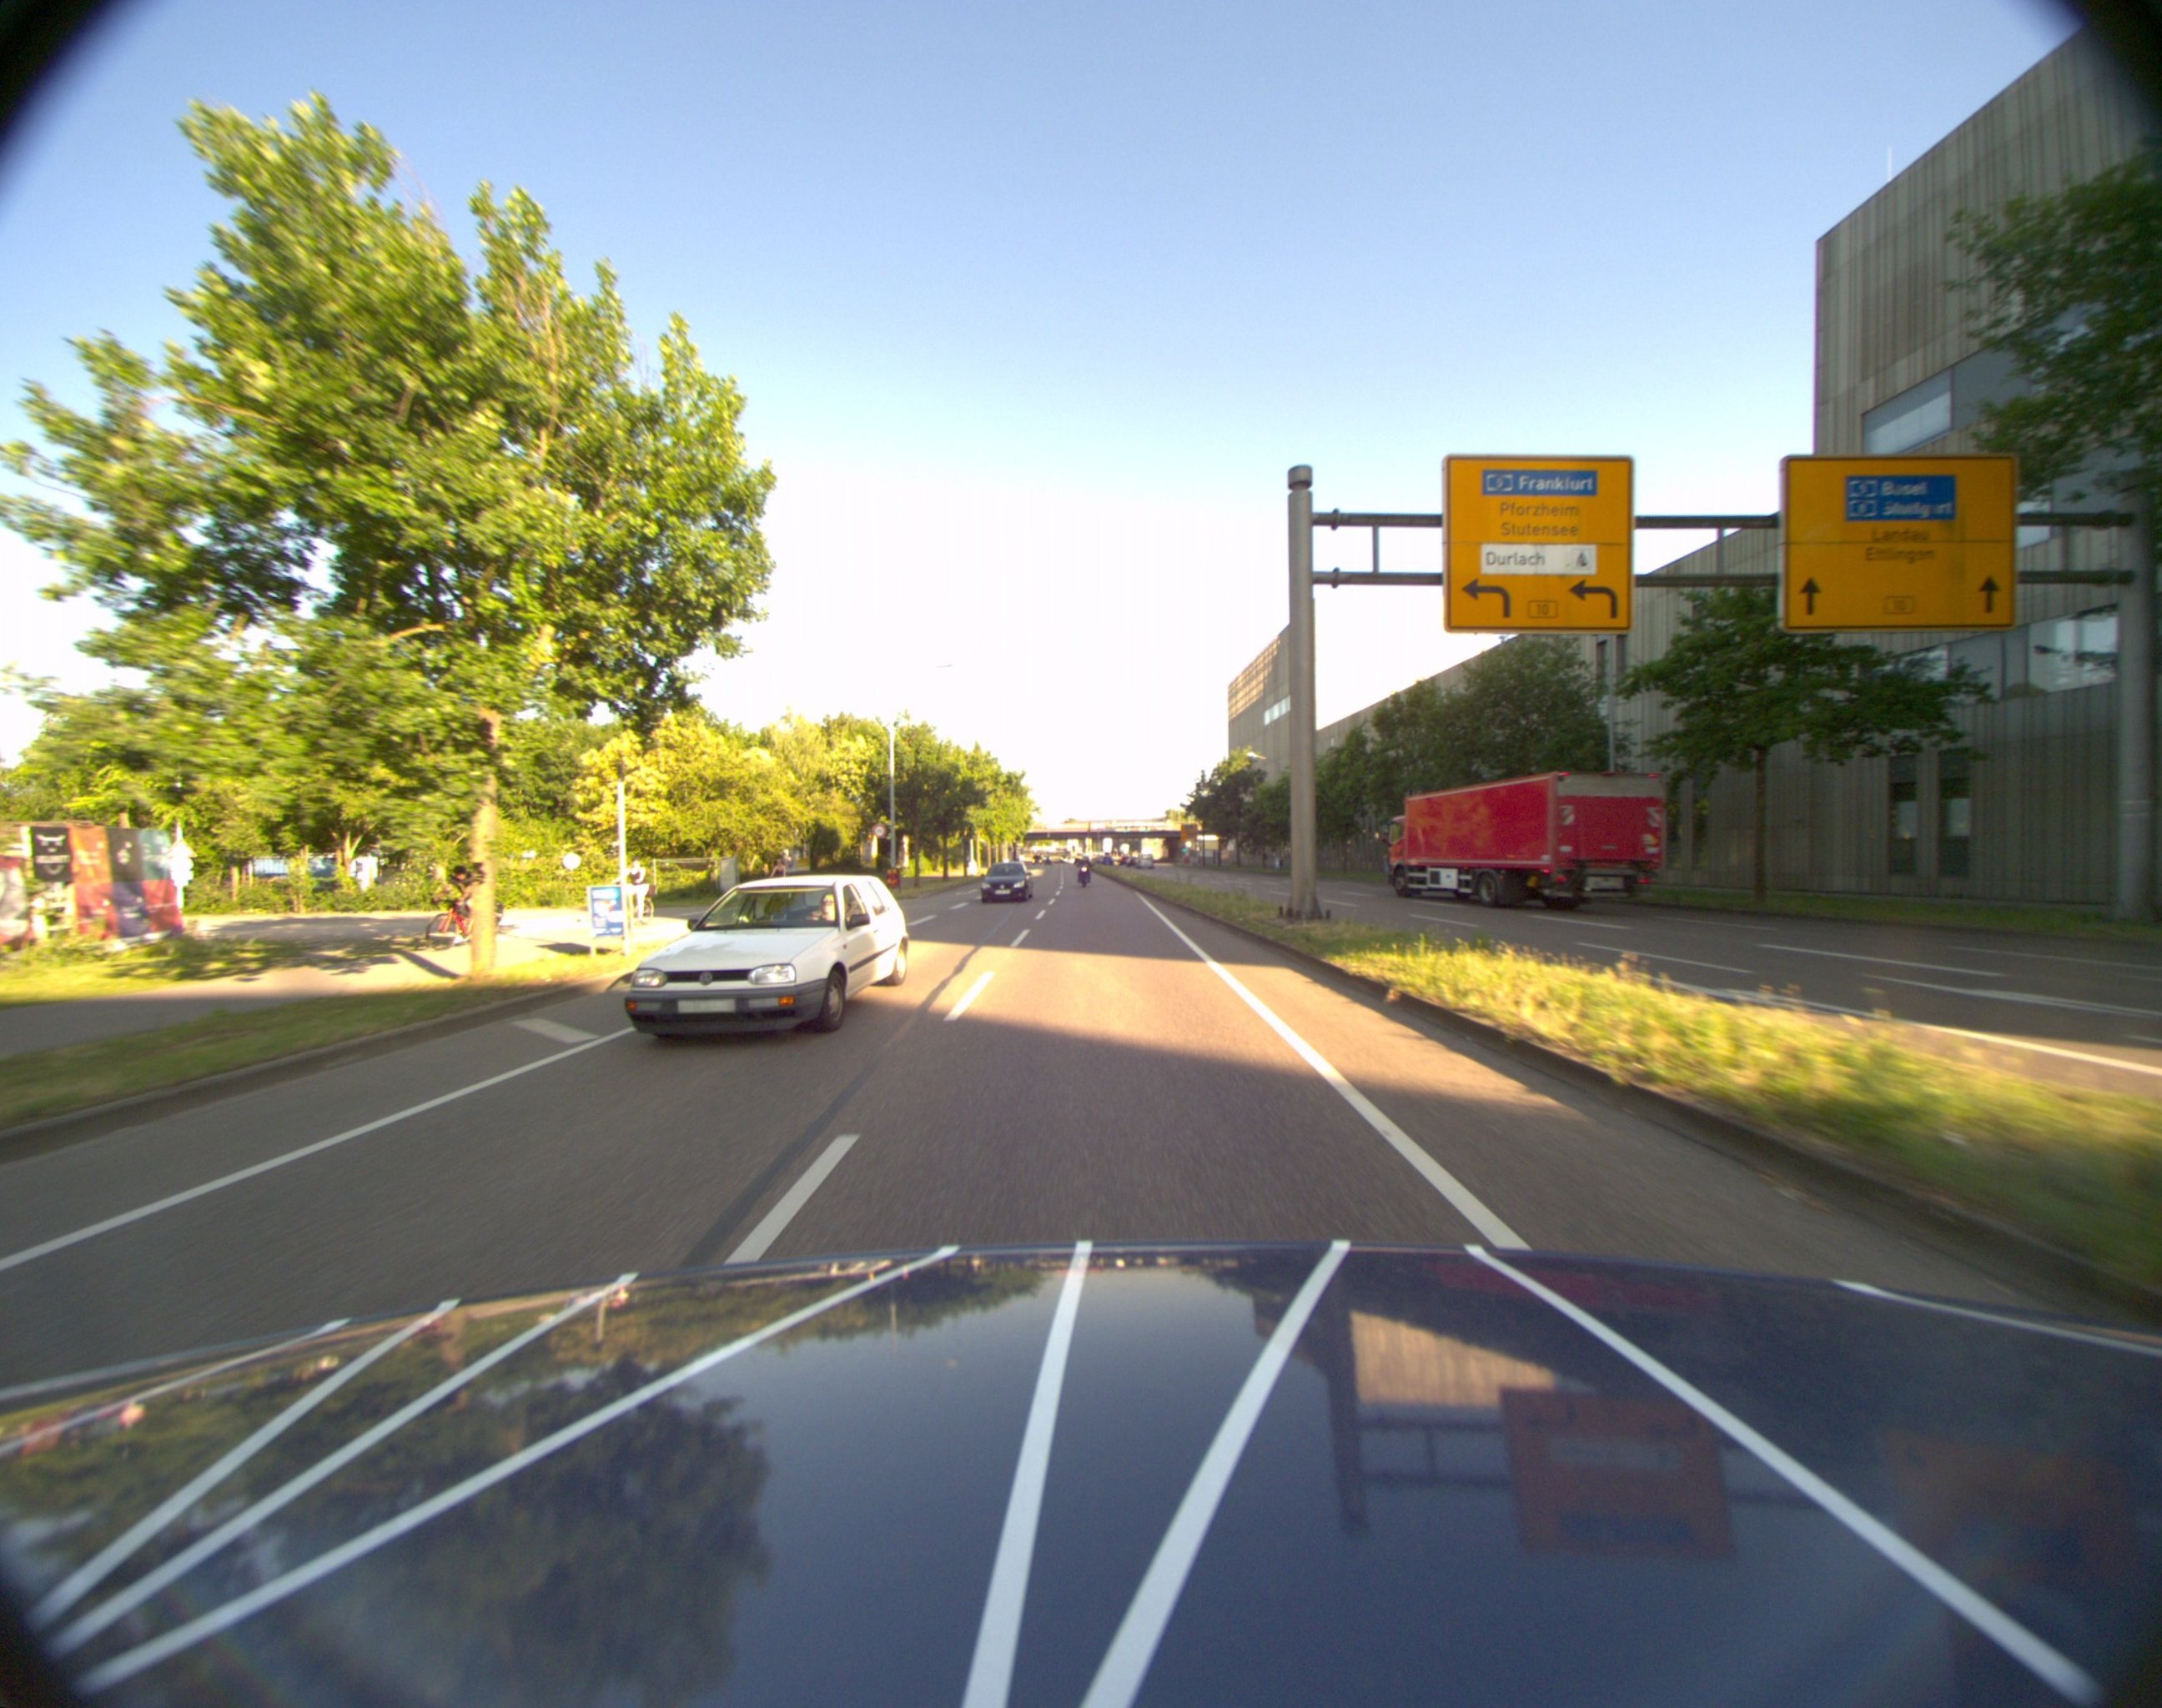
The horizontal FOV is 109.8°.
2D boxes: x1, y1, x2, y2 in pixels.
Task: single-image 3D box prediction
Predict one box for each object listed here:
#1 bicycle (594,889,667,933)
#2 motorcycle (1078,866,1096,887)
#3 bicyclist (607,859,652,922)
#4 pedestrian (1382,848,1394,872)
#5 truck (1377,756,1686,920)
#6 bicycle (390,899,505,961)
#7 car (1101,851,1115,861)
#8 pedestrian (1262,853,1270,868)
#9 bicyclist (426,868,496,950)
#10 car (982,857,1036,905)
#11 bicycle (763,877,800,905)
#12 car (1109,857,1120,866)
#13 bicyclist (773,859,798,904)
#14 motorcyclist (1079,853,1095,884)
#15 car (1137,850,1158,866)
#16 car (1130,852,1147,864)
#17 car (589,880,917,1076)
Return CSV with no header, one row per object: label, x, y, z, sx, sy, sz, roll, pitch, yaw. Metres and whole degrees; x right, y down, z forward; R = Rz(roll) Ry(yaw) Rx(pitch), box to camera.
bicycle,-11.672,1.451,19.763,0.618,0.968,2.058,-1,0,1
motorcycle,0.290,1.099,37.909,0.749,0.977,2.139,-1,1,-2
bicyclist,-11.682,0.936,19.674,0.605,1.569,0.848,-1,1,0
pedestrian,23.330,0.443,57.739,0.604,1.757,0.649,-1,1,0
truck,12.467,-0.390,22.734,3.006,3.789,10.086,-1,0,-2
bicycle,-11.932,1.406,14.400,0.618,0.968,1.822,-1,0,1
car,3.887,0.265,110.379,1.841,1.510,3.951,0,0,-2
pedestrian,20.336,0.713,83.572,0.698,1.619,0.725,-1,1,-1
bicyclist,-11.932,1.040,14.642,0.614,1.493,0.848,-1,1,0
car,-2.629,0.939,28.399,1.726,1.491,4.212,-2,1,-2
bicycle,-11.647,1.425,29.617,0.618,0.968,2.058,-1,0,1
car,5.676,1.306,128.608,1.696,1.425,3.771,0,0,-1
bicyclist,-11.650,1.083,29.973,0.605,1.723,0.848,-1,1,0
motorcyclist,0.289,0.719,38.088,0.734,1.503,0.918,0,1,-3
car,7.655,0.460,87.831,1.998,1.805,4.401,0,0,0
car,7.551,0.529,99.886,1.930,1.510,3.999,0,0,-1
car,-3.045,1.059,8.067,1.615,1.390,4.038,-2,0,1
